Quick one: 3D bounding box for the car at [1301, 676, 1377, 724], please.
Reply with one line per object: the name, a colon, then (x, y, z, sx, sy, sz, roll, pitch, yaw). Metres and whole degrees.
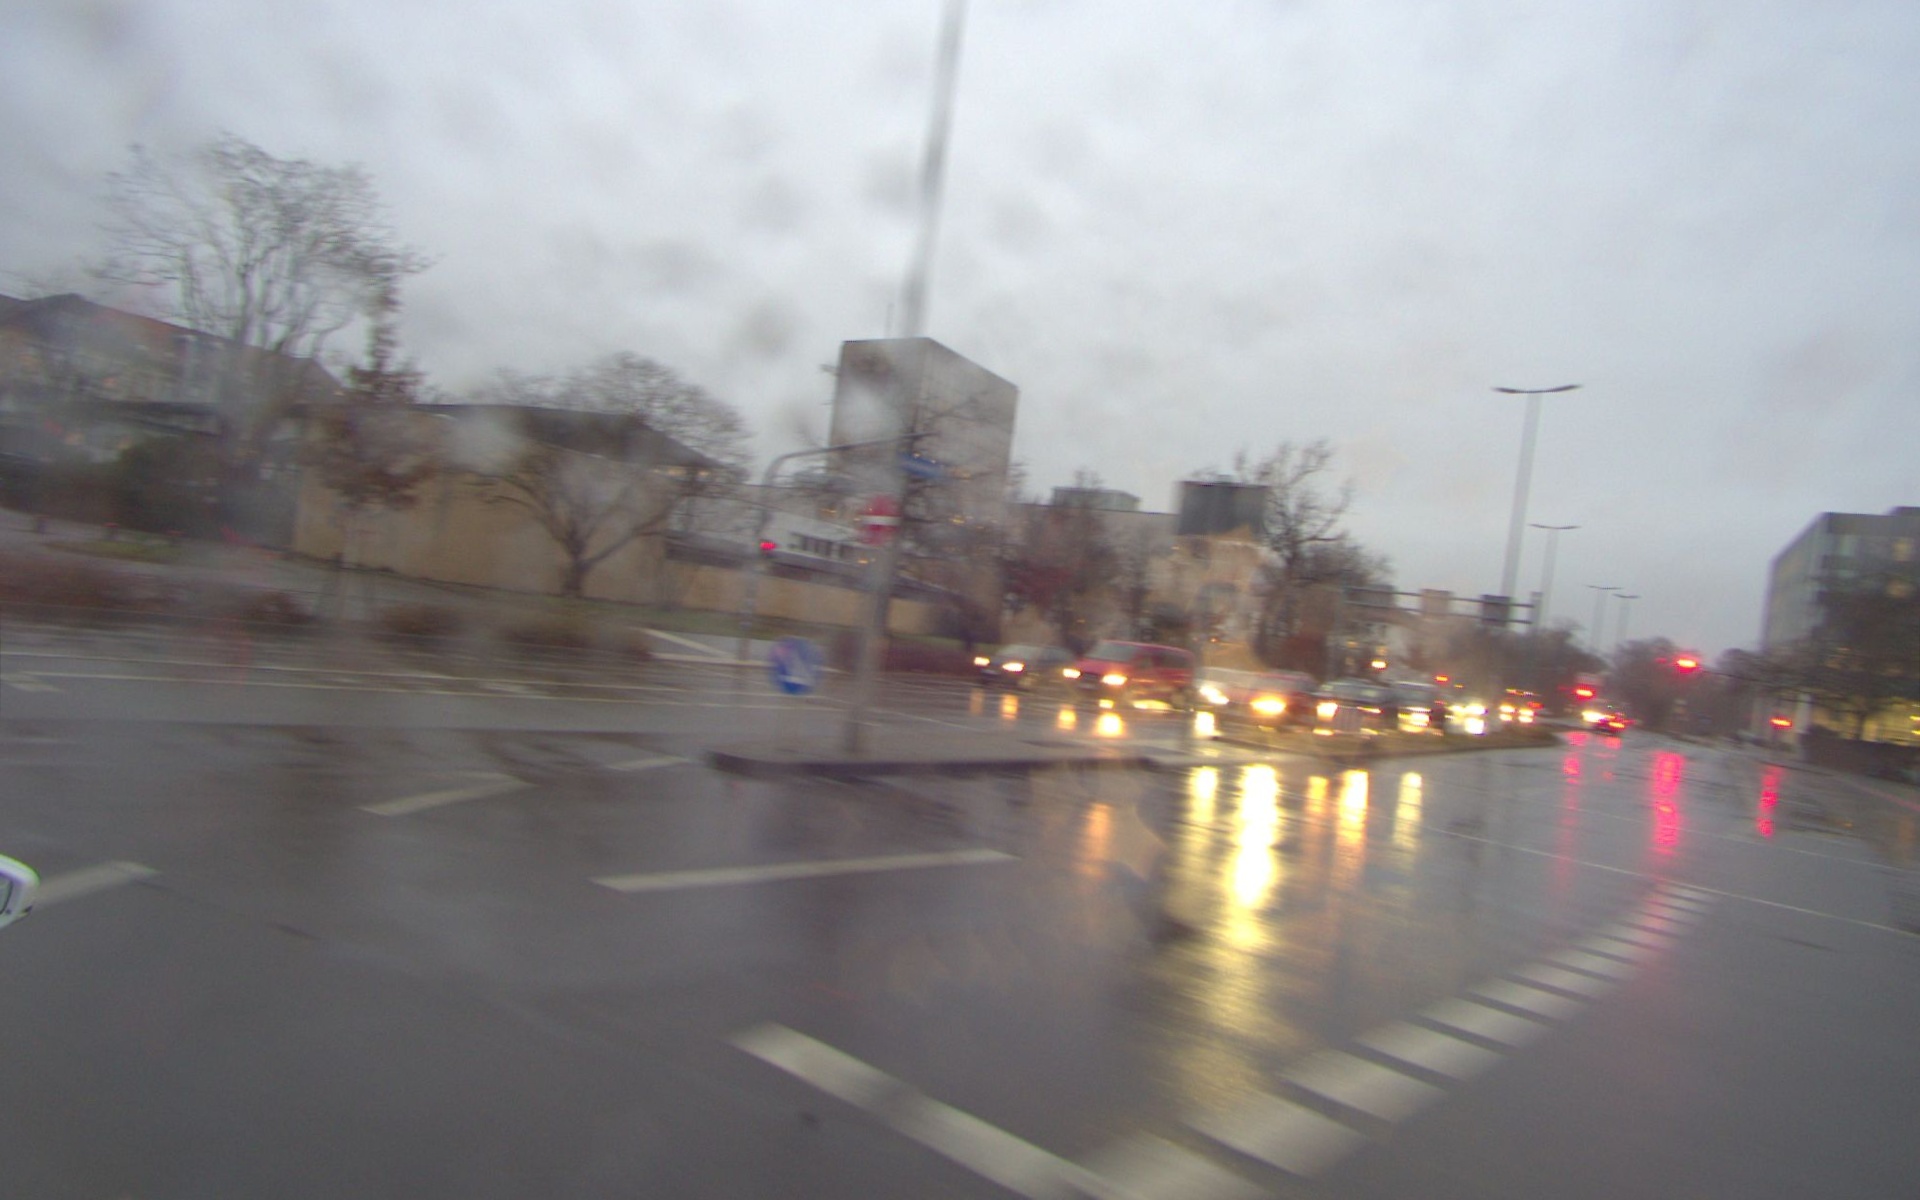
car: (17.170, 4.549, 45.491, 1.970, 1.793, 3.987, 8, -1, 38)

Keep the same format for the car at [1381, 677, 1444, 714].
car: (25.108, 5.310, 55.731, 1.969, 1.587, 4.746, 10, 1, 38)

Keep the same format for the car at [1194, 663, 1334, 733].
car: (8.032, 2.573, 26.279, 1.902, 1.393, 4.483, 9, 0, 38)

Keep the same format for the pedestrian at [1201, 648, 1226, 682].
pedestrian: (14.858, 3.799, 59.011, 0.919, 1.848, 0.831, 9, 1, 38)

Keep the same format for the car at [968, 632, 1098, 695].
car: (2.344, 2.020, 31.363, 1.748, 1.504, 4.455, 9, 0, 38)

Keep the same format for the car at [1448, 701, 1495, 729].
car: (35.681, 8.008, 70.171, 1.969, 1.587, 4.455, 10, 1, 38)

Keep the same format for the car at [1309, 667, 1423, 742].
car: (13.173, 3.369, 32.455, 1.969, 1.771, 4.455, 16, 5, 37)

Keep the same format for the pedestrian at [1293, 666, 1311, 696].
pedestrian: (24.211, 5.742, 71.169, 0.754, 2.039, 0.907, 8, 1, 37)

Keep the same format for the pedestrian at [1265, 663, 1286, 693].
pedestrian: (21.137, 5.196, 67.371, 0.919, 1.848, 0.831, 9, 1, 38)

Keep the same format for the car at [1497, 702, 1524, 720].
car: (67.174, 13.574, 122.676, 2.110, 1.838, 3.987, 9, 0, 37)

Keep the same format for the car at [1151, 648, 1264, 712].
car: (8.591, 2.799, 34.630, 1.970, 1.771, 4.455, 9, 0, 38)

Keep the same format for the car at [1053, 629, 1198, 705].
car: (5.017, 2.045, 29.899, 1.970, 1.771, 4.929, 9, 0, 38)

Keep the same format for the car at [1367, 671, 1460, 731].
car: (16.830, 3.738, 37.210, 1.970, 1.771, 4.455, 9, 0, 38)

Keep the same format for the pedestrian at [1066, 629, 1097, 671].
pedestrian: (5.751, 2.385, 47.720, 0.919, 1.848, 0.831, 9, 1, 38)

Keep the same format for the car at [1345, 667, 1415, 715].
car: (20.904, 4.552, 50.015, 1.970, 1.947, 4.253, 8, 0, 38)

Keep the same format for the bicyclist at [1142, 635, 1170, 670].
bicyclist: (9.151, 2.470, 46.988, 0.756, 1.508, 0.990, 8, 1, 38)

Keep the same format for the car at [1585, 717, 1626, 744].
car: (49.454, 10.015, 77.011, 1.970, 1.586, 4.456, 10, 0, 39)
